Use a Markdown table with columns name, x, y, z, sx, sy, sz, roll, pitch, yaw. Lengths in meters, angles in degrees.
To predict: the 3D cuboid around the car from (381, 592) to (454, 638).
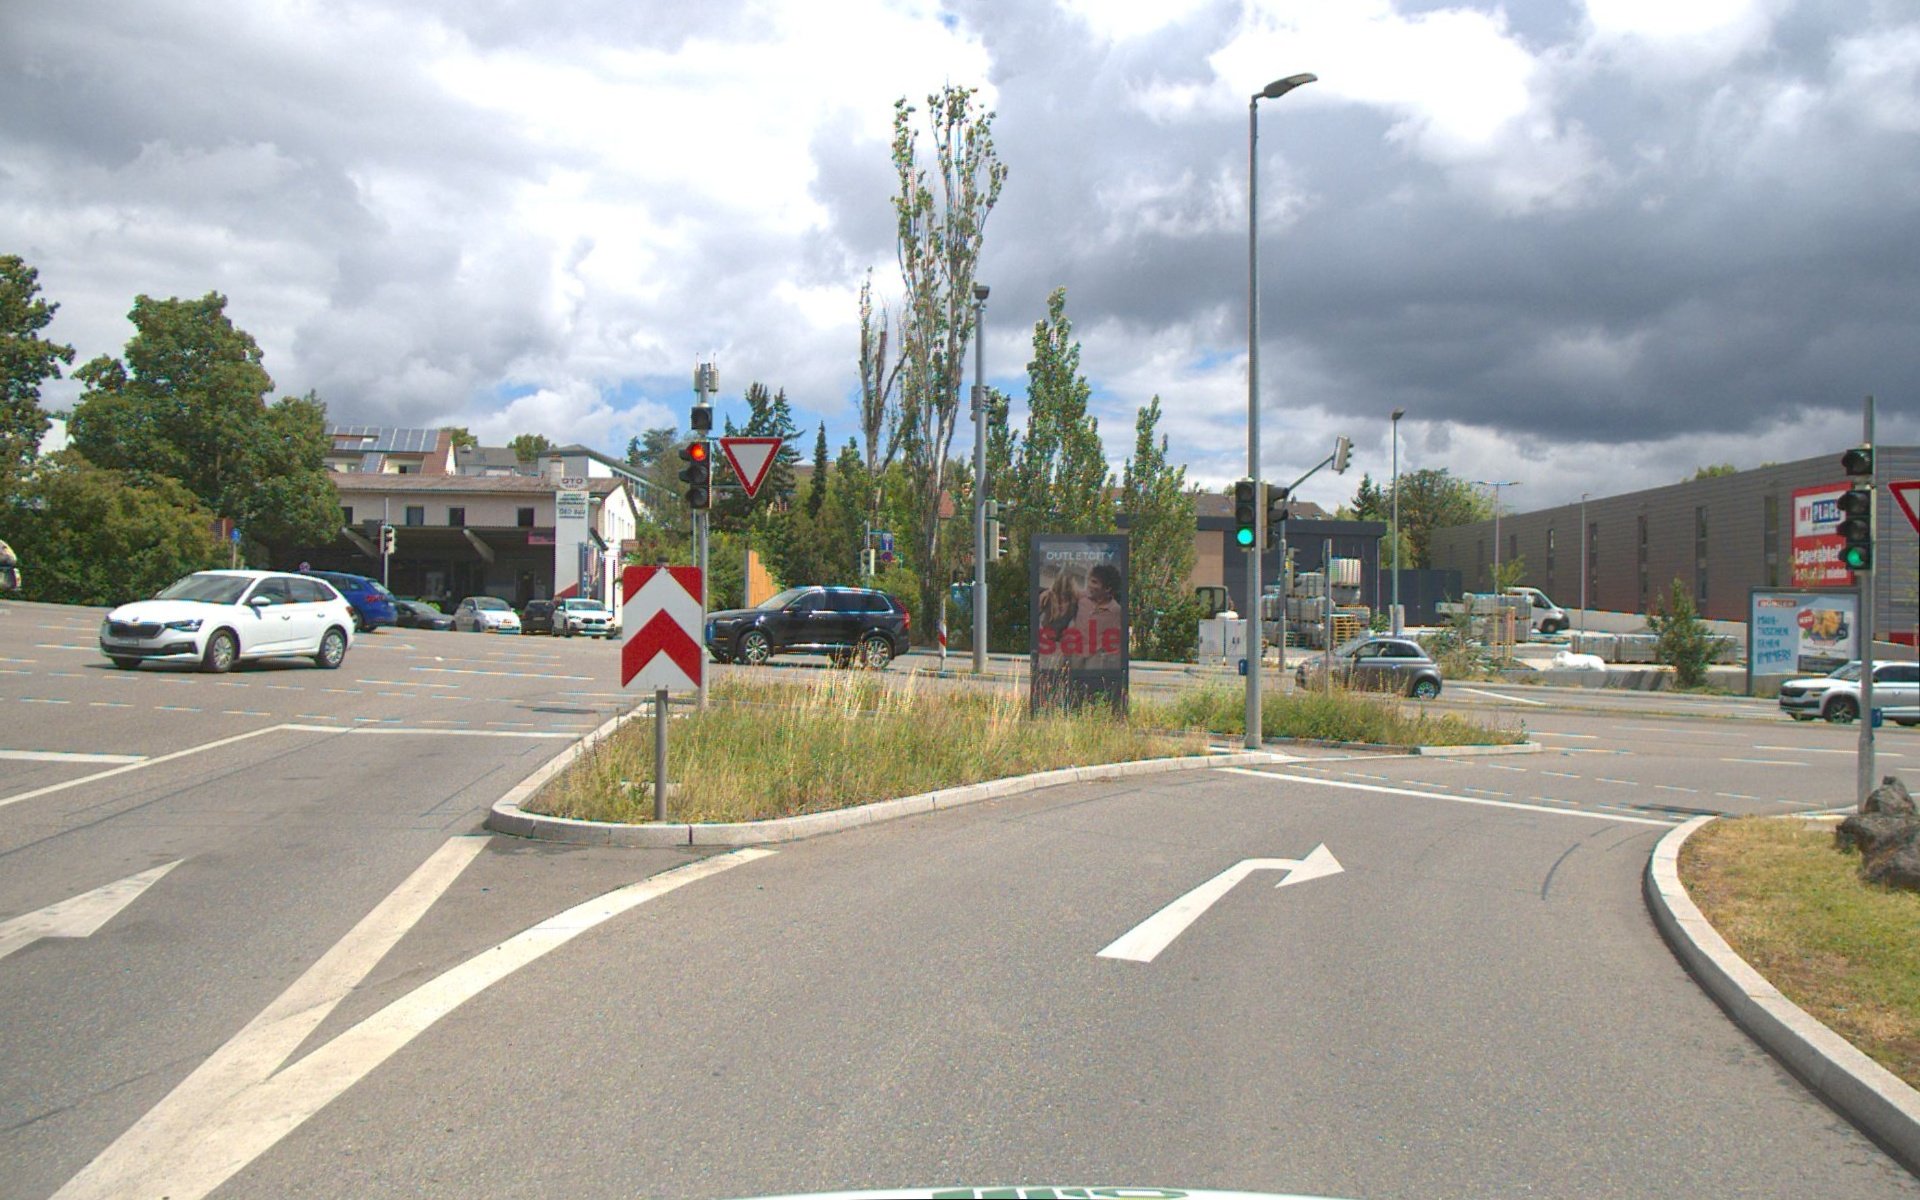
| name | x | y | z | sx | sy | sz | roll | pitch | yaw |
| --- | --- | --- | --- | --- | --- | --- | --- | --- | --- |
| car | -21.978 | 0.588 | 66.961 | 1.721 | 1.680 | 3.807 | 3 | 0 | -35 |

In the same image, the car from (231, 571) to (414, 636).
| name | x | y | z | sx | sy | sz | roll | pitch | yaw |
| --- | --- | --- | --- | --- | --- | --- | --- | --- | --- |
| car | -16.014 | 0.084 | 41.696 | 3.909 | 1.425 | 1.695 | 3 | -1 | -5 |

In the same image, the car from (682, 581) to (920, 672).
| name | x | y | z | sx | sy | sz | roll | pitch | yaw |
| --- | --- | --- | --- | --- | --- | --- | --- | --- | --- |
| car | -3.534 | 0.605 | 37.004 | 4.909 | 1.719 | 1.894 | 4 | 0 | -28 |

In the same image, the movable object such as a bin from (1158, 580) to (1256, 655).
| name | x | y | z | sx | sy | sz | roll | pitch | yaw |
| --- | --- | --- | --- | --- | --- | --- | --- | --- | --- |
| movable object such as a bin | 9.322 | 0.673 | 62.251 | 3.331 | 2.582 | 2.154 | 3 | -1 | 14 |

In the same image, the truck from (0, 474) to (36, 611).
| name | x | y | z | sx | sy | sz | roll | pitch | yaw |
| --- | --- | --- | --- | --- | --- | --- | --- | --- | --- |
| truck | -29.100 | -1.451 | 44.436 | 6.808 | 3.641 | 2.844 | -2 | 0 | -5 |

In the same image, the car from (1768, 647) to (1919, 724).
| name | x | y | z | sx | sy | sz | roll | pitch | yaw |
| --- | --- | --- | --- | --- | --- | --- | --- | --- | --- |
| car | 22.862 | 2.137 | 41.037 | 4.788 | 1.687 | 1.732 | 3 | 0 | -3 |

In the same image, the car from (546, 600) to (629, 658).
| name | x | y | z | sx | sy | sz | roll | pitch | yaw |
| --- | --- | --- | --- | --- | --- | --- | --- | --- | --- |
| car | -13.925 | 1.082 | 61.653 | 1.972 | 2.049 | 3.961 | -1 | 0 | -29 |

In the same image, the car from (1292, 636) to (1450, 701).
| name | x | y | z | sx | sy | sz | roll | pitch | yaw |
| --- | --- | --- | --- | --- | --- | --- | --- | --- | --- |
| car | 10.011 | 1.660 | 40.400 | 3.442 | 1.486 | 1.585 | 0 | 0 | -3 |

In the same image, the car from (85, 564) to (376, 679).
| name | x | y | z | sx | sy | sz | roll | pitch | yaw |
| --- | --- | --- | --- | --- | --- | --- | --- | --- | --- |
| car | -10.887 | 0.325 | 25.078 | 1.583 | 1.495 | 4.381 | 4 | 0 | 15 |

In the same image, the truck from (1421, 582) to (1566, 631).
| name | x | y | z | sx | sy | sz | roll | pitch | yaw |
| --- | --- | --- | --- | --- | --- | --- | --- | --- | --- |
| truck | 25.715 | 0.326 | 79.902 | 6.418 | 2.183 | 2.002 | -2 | 0 | 11 |

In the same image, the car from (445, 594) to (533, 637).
| name | x | y | z | sx | sy | sz | roll | pitch | yaw |
| --- | --- | --- | --- | --- | --- | --- | --- | --- | --- |
| car | -17.367 | 0.564 | 60.922 | 1.680 | 1.425 | 3.945 | 3 | -1 | -39 |
